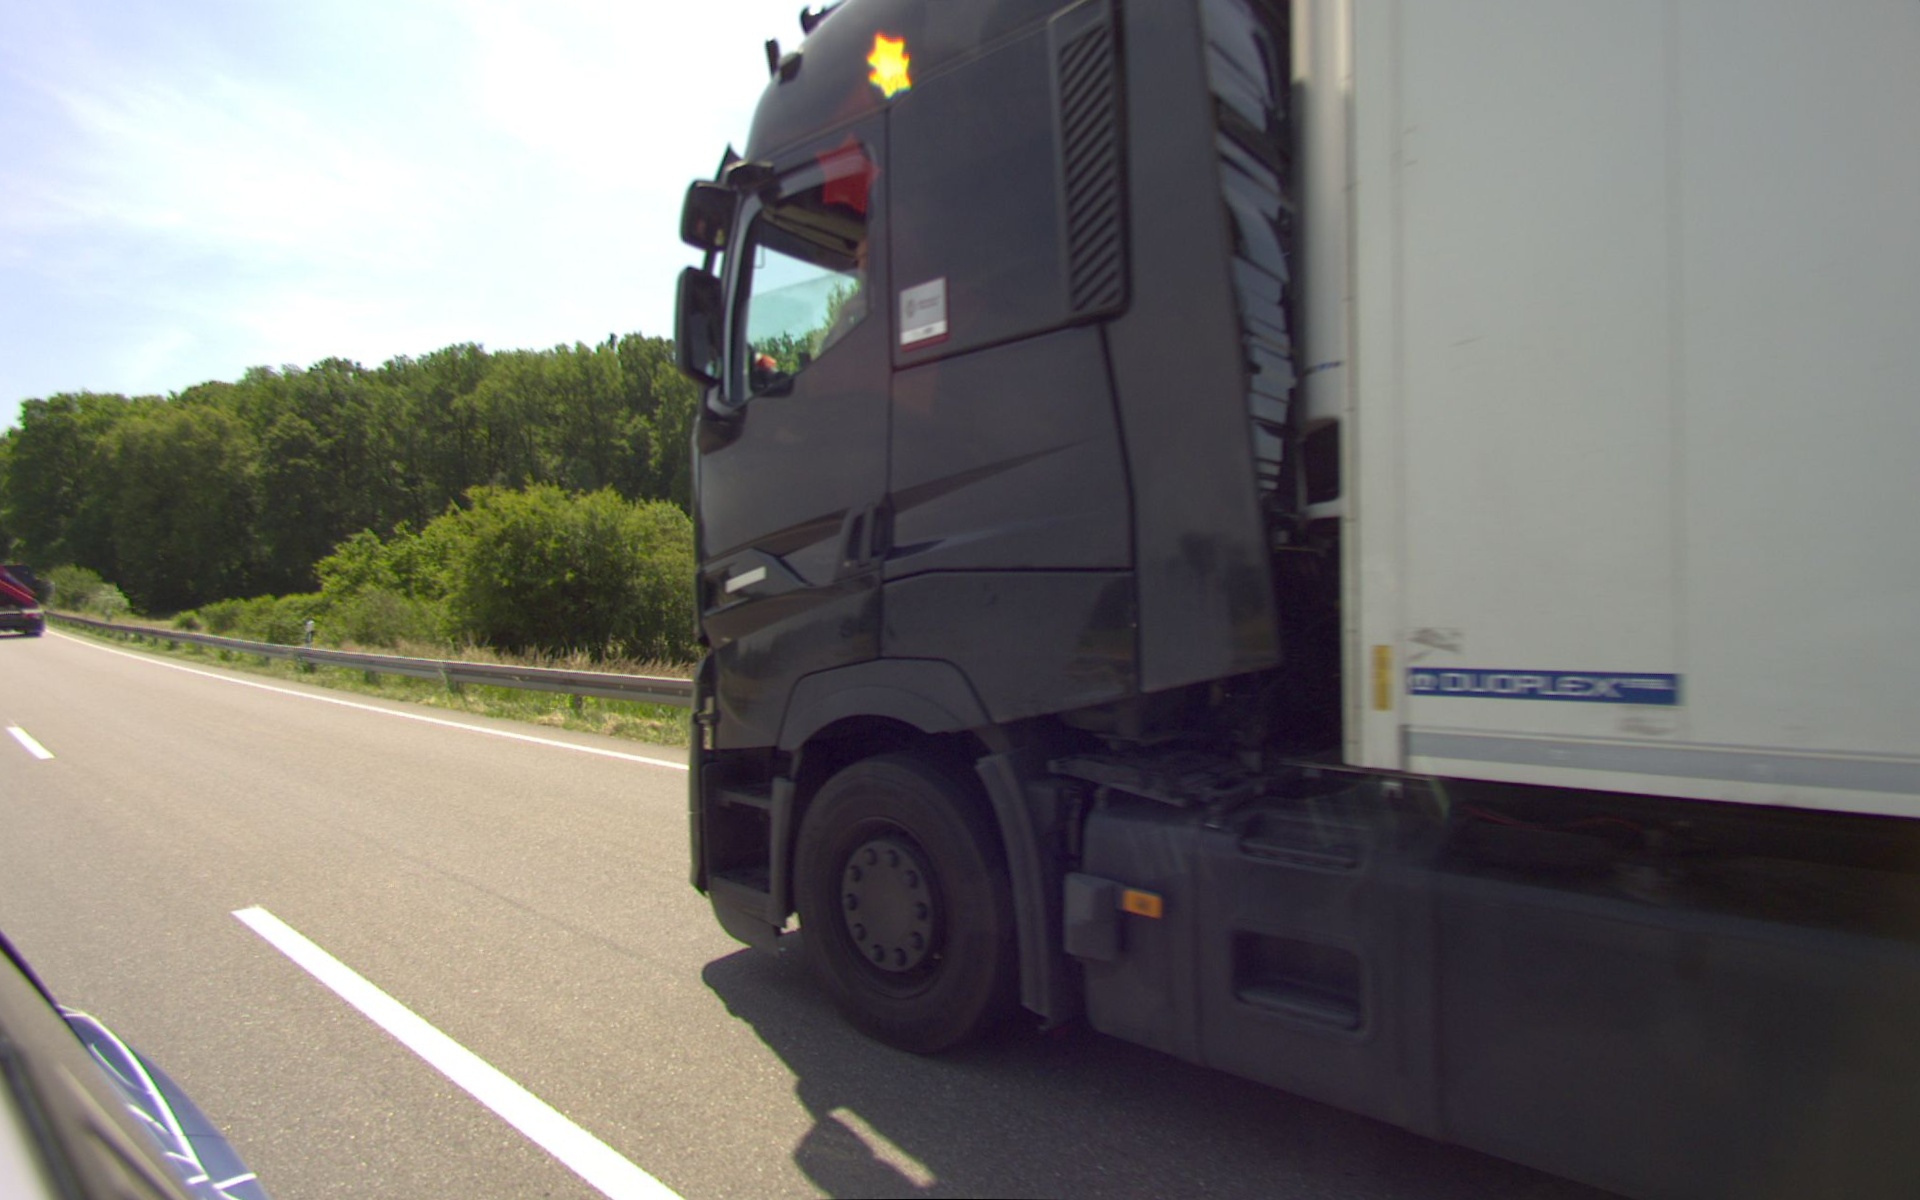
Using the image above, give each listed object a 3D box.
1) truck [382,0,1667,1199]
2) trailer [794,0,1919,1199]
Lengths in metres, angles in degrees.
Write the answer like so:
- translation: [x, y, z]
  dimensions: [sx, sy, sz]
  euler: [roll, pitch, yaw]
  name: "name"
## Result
- translation: [0.053, -0.795, 5.021]
  dimensions: [5.440, 4.434, 3.340]
  euler: [-1, -1, 39]
  name: "truck"
- translation: [5.813, -0.892, 0.279]
  dimensions: [13.731, 4.434, 3.340]
  euler: [-1, -1, 39]
  name: "trailer"
